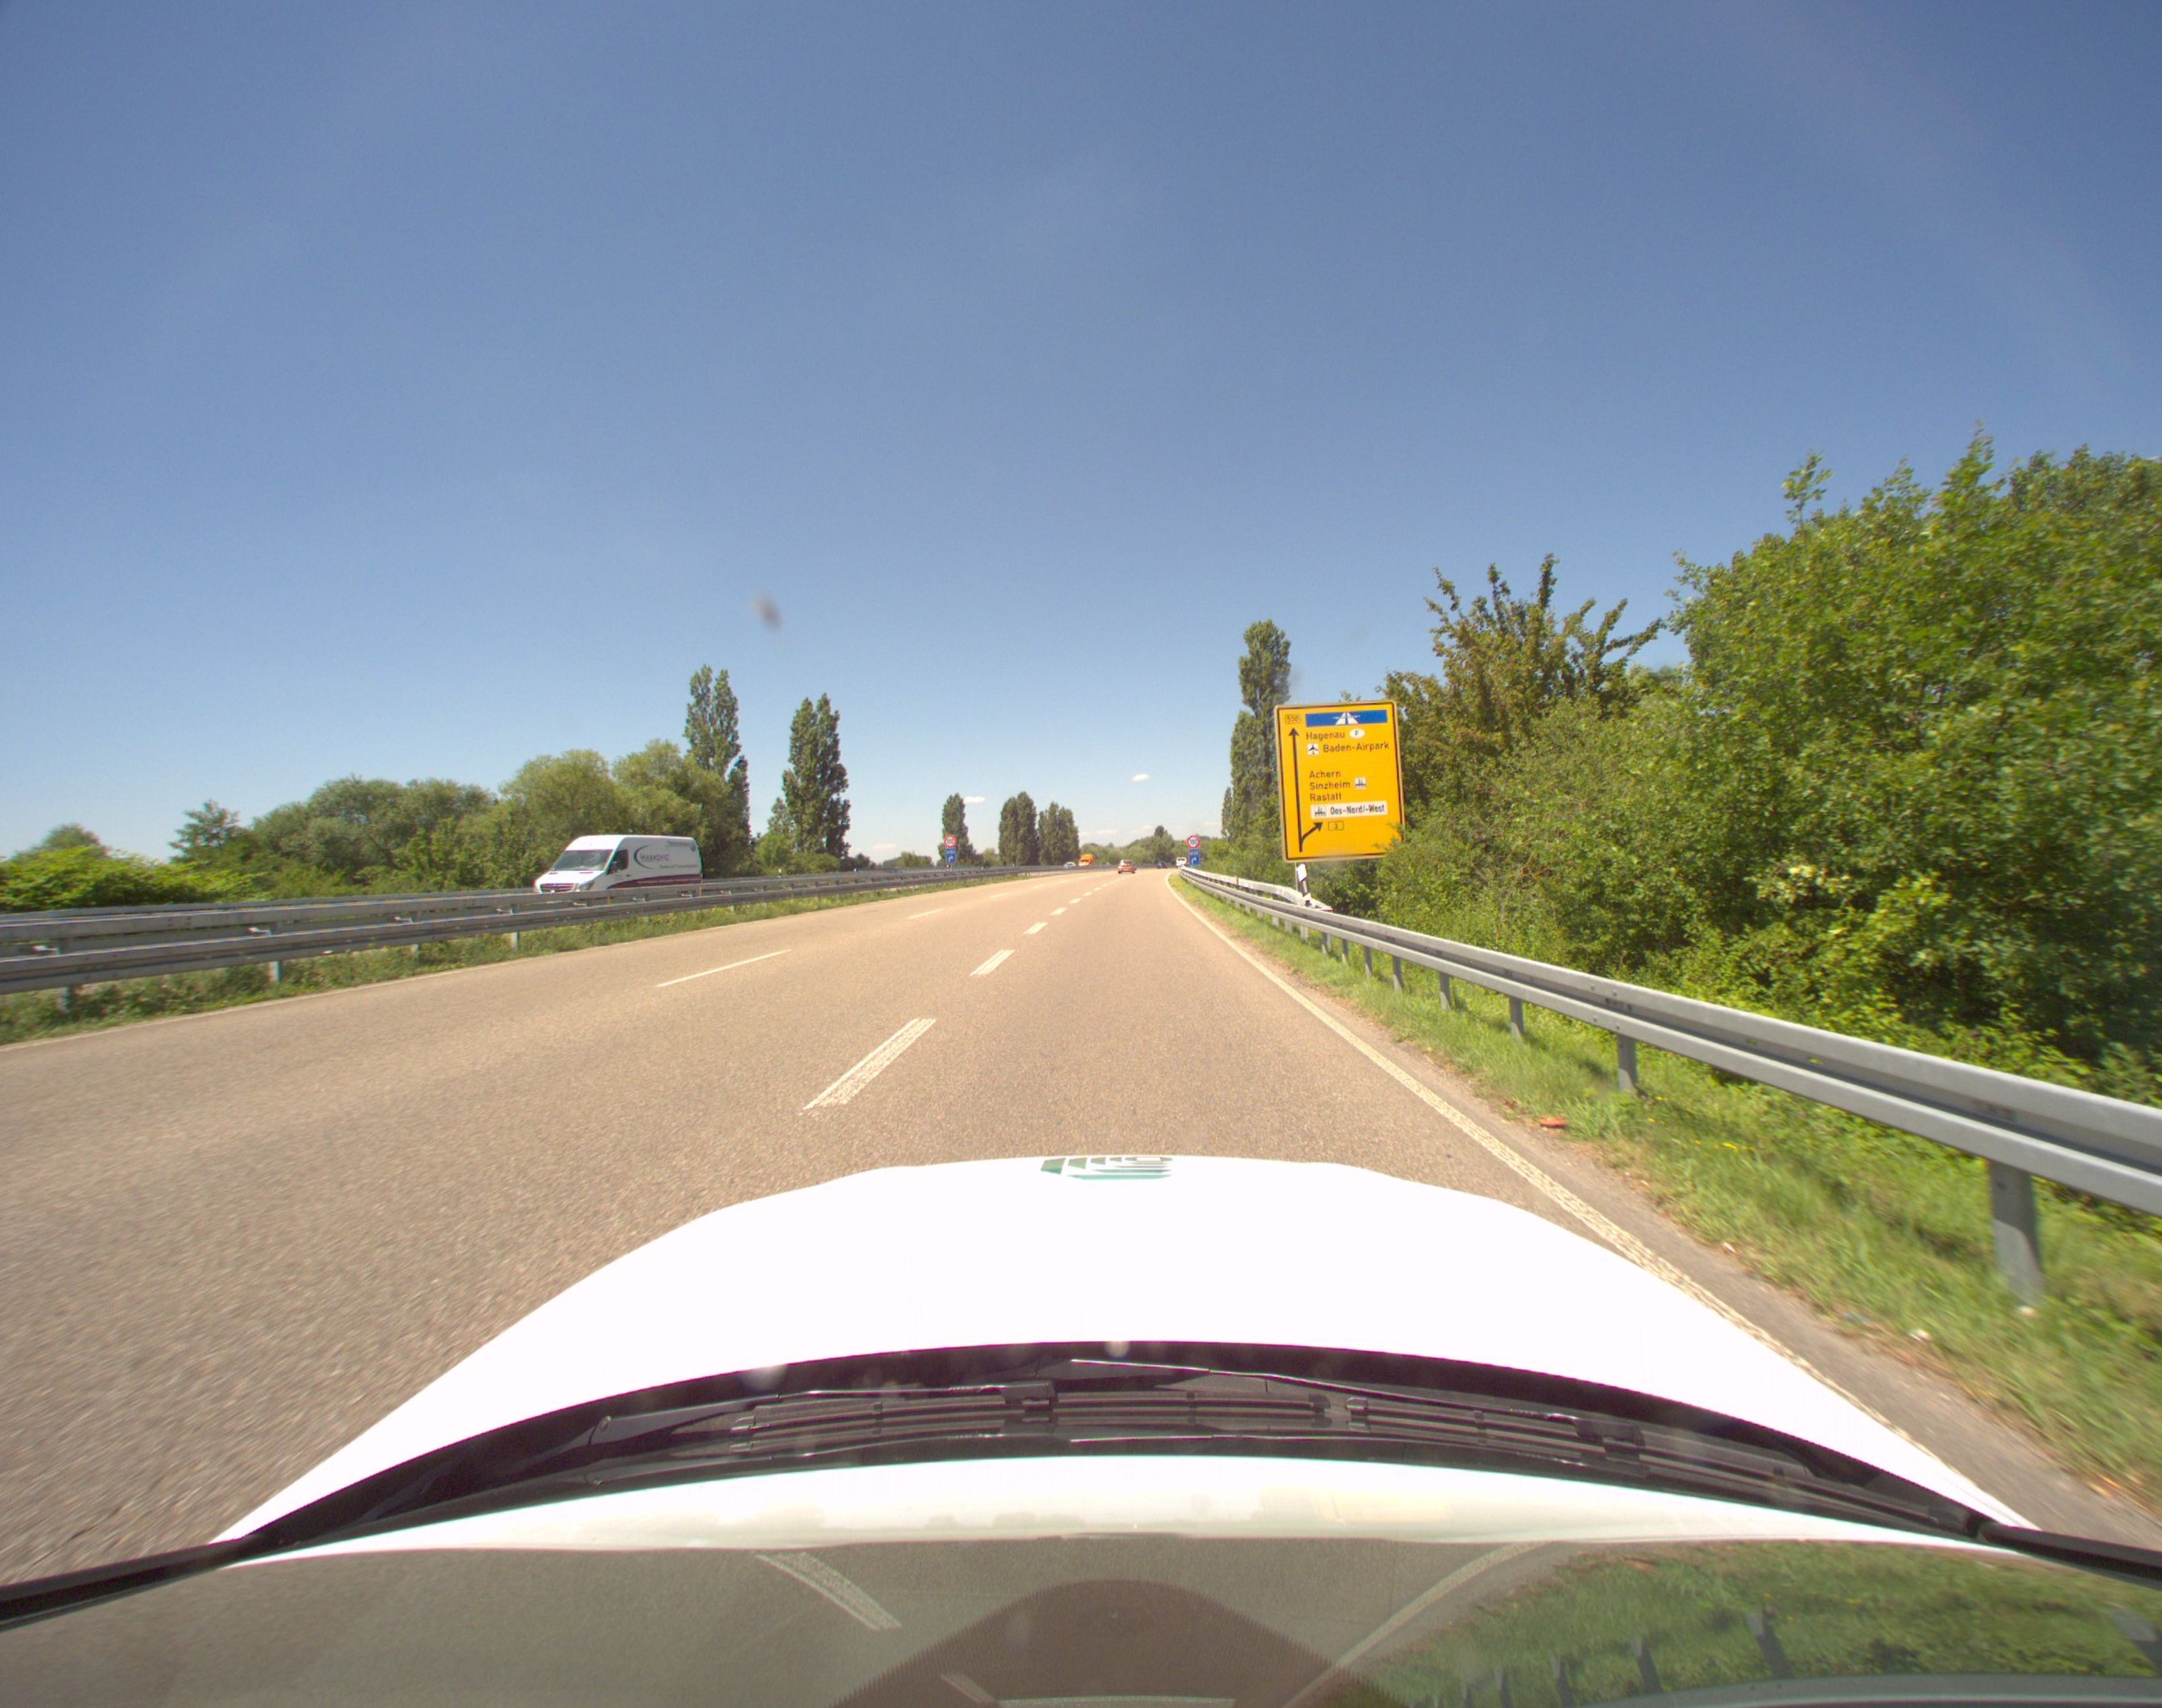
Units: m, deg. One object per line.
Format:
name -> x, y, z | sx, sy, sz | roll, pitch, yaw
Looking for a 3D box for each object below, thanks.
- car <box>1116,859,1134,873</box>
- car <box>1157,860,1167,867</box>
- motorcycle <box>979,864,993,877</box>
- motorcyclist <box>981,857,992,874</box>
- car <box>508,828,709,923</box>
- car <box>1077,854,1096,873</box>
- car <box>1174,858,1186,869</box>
car -> 4.901, 1.349, 89.388 | 1.832, 1.464, 4.005 | -1, 0, 5
car -> 17.798, 2.108, 178.550 | 1.933, 1.464, 4.009 | -1, 0, 8
motorcycle -> -8.305, 1.460, 71.249 | 0.788, 1.144, 2.531 | -2, -2, 3
motorcyclist -> -8.308, 1.042, 71.276 | 0.788, 1.434, 0.768 | -2, -2, 3
car -> -15.864, 0.731, 28.100 | 2.269, 2.774, 7.229 | -2, -2, 4
car -> 1.051, 1.731, 150.906 | 2.290, 3.292, 7.049 | -2, -1, 11
car -> 17.926, 1.637, 147.141 | 1.829, 1.895, 4.013 | -1, 0, 12
